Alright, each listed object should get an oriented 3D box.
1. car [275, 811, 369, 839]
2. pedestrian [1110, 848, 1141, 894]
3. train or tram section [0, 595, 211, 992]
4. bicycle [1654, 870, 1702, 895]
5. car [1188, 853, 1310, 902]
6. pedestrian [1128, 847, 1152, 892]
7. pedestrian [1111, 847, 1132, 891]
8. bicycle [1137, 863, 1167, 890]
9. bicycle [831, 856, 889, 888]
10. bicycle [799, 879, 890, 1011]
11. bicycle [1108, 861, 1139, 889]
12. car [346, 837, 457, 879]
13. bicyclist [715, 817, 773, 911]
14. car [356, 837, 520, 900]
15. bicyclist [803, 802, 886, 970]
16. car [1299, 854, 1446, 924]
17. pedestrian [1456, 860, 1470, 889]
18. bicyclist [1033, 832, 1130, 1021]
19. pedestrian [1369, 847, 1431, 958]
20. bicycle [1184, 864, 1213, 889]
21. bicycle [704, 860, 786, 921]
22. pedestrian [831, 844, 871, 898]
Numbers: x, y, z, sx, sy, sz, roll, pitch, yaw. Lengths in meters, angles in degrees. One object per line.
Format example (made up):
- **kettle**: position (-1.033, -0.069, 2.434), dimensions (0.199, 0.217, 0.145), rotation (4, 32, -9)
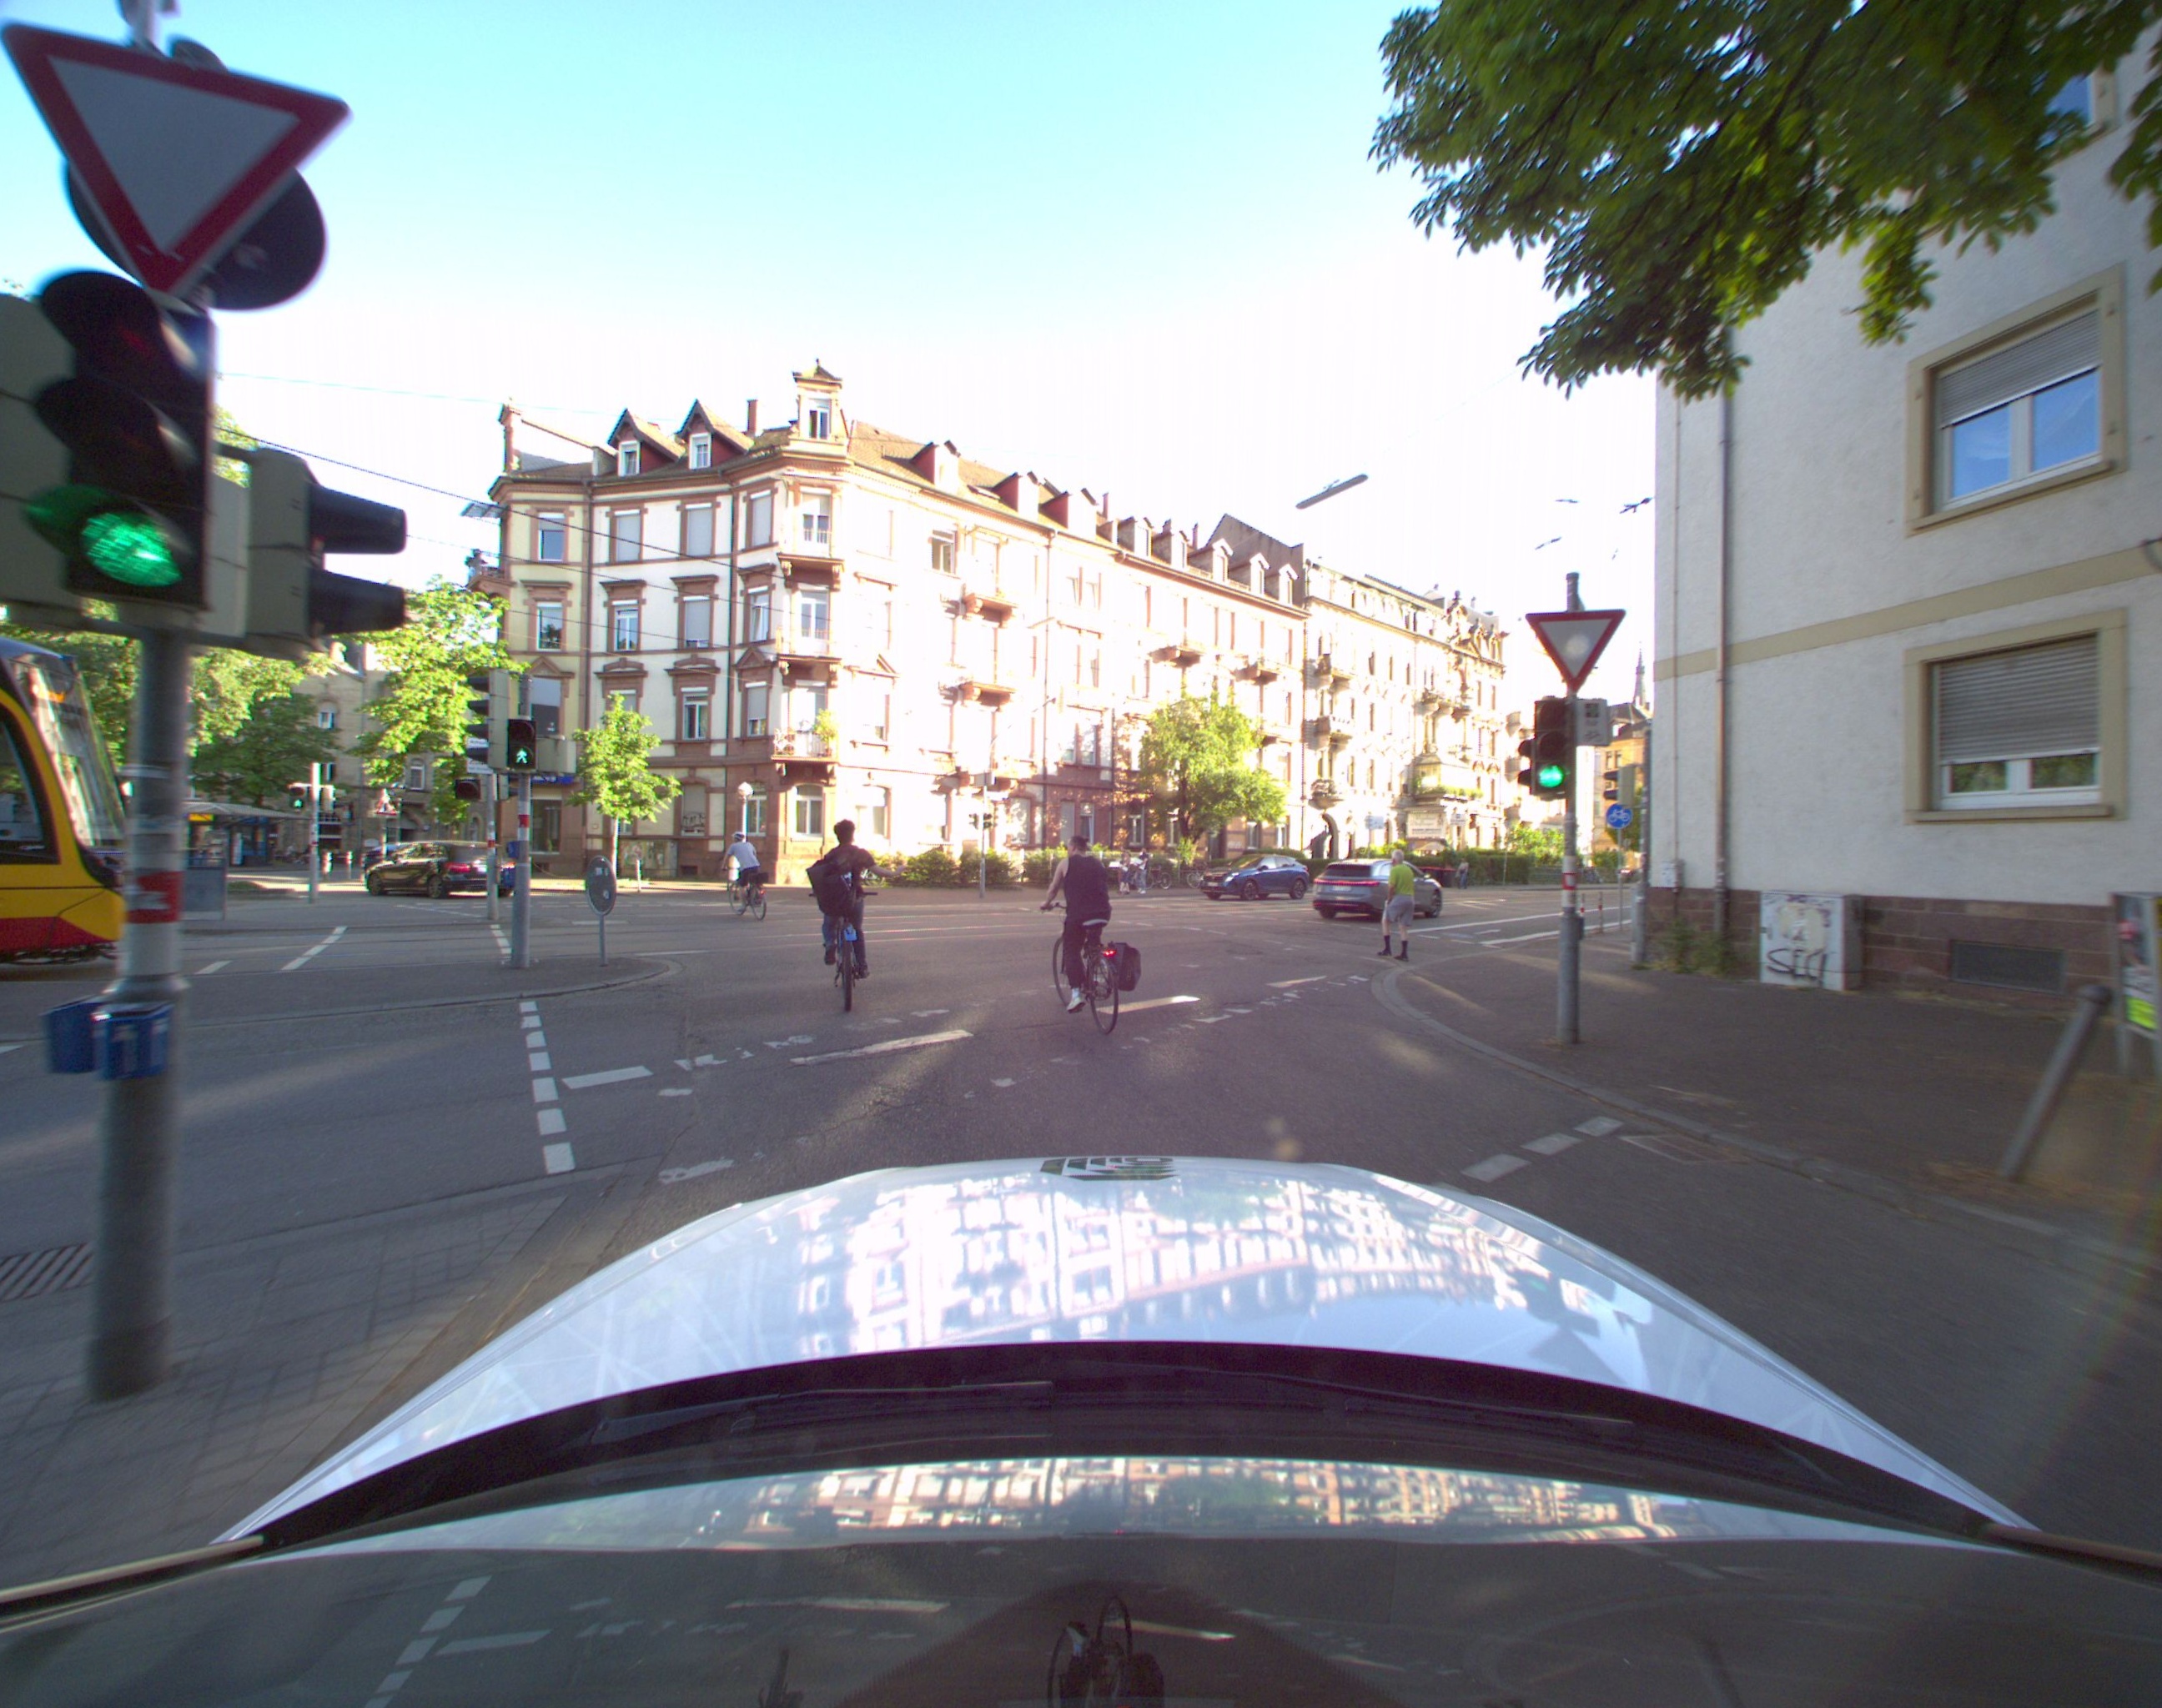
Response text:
- **car**: position (-49.339, -1.844, 53.035), dimensions (3.993, 1.647, 1.869), rotation (1, 0, -15)
- **pedestrian**: position (1.650, 0.623, 30.461), dimensions (0.898, 1.664, 0.707), rotation (1, 2, -21)
- **train or tram section**: position (-14.677, -0.657, 5.358), dimensions (11.857, 3.620, 2.769), rotation (1, 0, -39)
- **bicycle**: position (51.650, 2.421, 70.497), dimensions (0.937, 2.016, 3.207), rotation (-2, 1, -43)
- **car**: position (6.153, 0.815, 29.574), dimensions (4.431, 1.650, 1.927), rotation (1, 0, -38)
- **pedestrian**: position (2.285, 0.607, 31.551), dimensions (0.637, 1.715, 0.658), rotation (1, -1, -25)
- **pedestrian**: position (1.607, 0.595, 32.190), dimensions (0.637, 1.715, 0.517), rotation (1, -1, -25)
- **bicycle**: position (2.961, 0.921, 34.034), dimensions (1.238, 1.107, 0.439), rotation (1, 0, -32)
- **bicycle**: position (-8.177, 0.658, 30.142), dimensions (1.956, 1.107, 0.442), rotation (3, 0, -5)
- **bicycle**: position (-2.445, 0.841, 8.272), dimensions (0.719, 1.107, 1.953), rotation (1, 0, -20)
- **bicycle**: position (1.742, 0.863, 33.286), dimensions (1.238, 1.107, 0.439), rotation (1, 1, -32)
- **car**: position (-28.684, 0.158, 34.577), dimensions (1.793, 1.611, 4.350), rotation (1, 0, -13)
- **bicyclist**: position (-7.102, 0.210, 17.158), dimensions (0.801, 1.913, 0.933), rotation (2, -1, -44)
- **car**: position (-17.485, 0.382, 22.167), dimensions (3.813, 1.542, 1.805), rotation (1, -2, 22)
- **bicyclist**: position (-2.400, 0.299, 8.202), dimensions (0.709, 1.573, 0.950), rotation (1, 0, -20)
- **car**: position (7.677, 0.847, 21.201), dimensions (1.952, 1.585, 4.501), rotation (2, 0, 43)
- **pedestrian**: position (21.455, 1.157, 45.705), dimensions (0.496, 1.641, 0.521), rotation (1, -1, -27)
- **bicyclist**: position (-0.017, 0.641, 7.707), dimensions (0.687, 1.656, 0.984), rotation (0, -1, -15)
- **pedestrian**: position (5.253, 0.770, 13.461), dimensions (0.639, 1.727, 0.890), rotation (4, 1, 7)
- **bicycle**: position (5.122, 0.978, 35.509), dimensions (1.238, 1.038, 0.438), rotation (1, 0, -34)
- **bicycle**: position (-7.091, 0.731, 17.135), dimensions (0.817, 1.185, 2.199), rotation (1, 0, -44)
- **pedestrian**: position (-7.291, 0.527, 25.840), dimensions (0.894, 1.634, 0.729), rotation (3, 1, 20)
